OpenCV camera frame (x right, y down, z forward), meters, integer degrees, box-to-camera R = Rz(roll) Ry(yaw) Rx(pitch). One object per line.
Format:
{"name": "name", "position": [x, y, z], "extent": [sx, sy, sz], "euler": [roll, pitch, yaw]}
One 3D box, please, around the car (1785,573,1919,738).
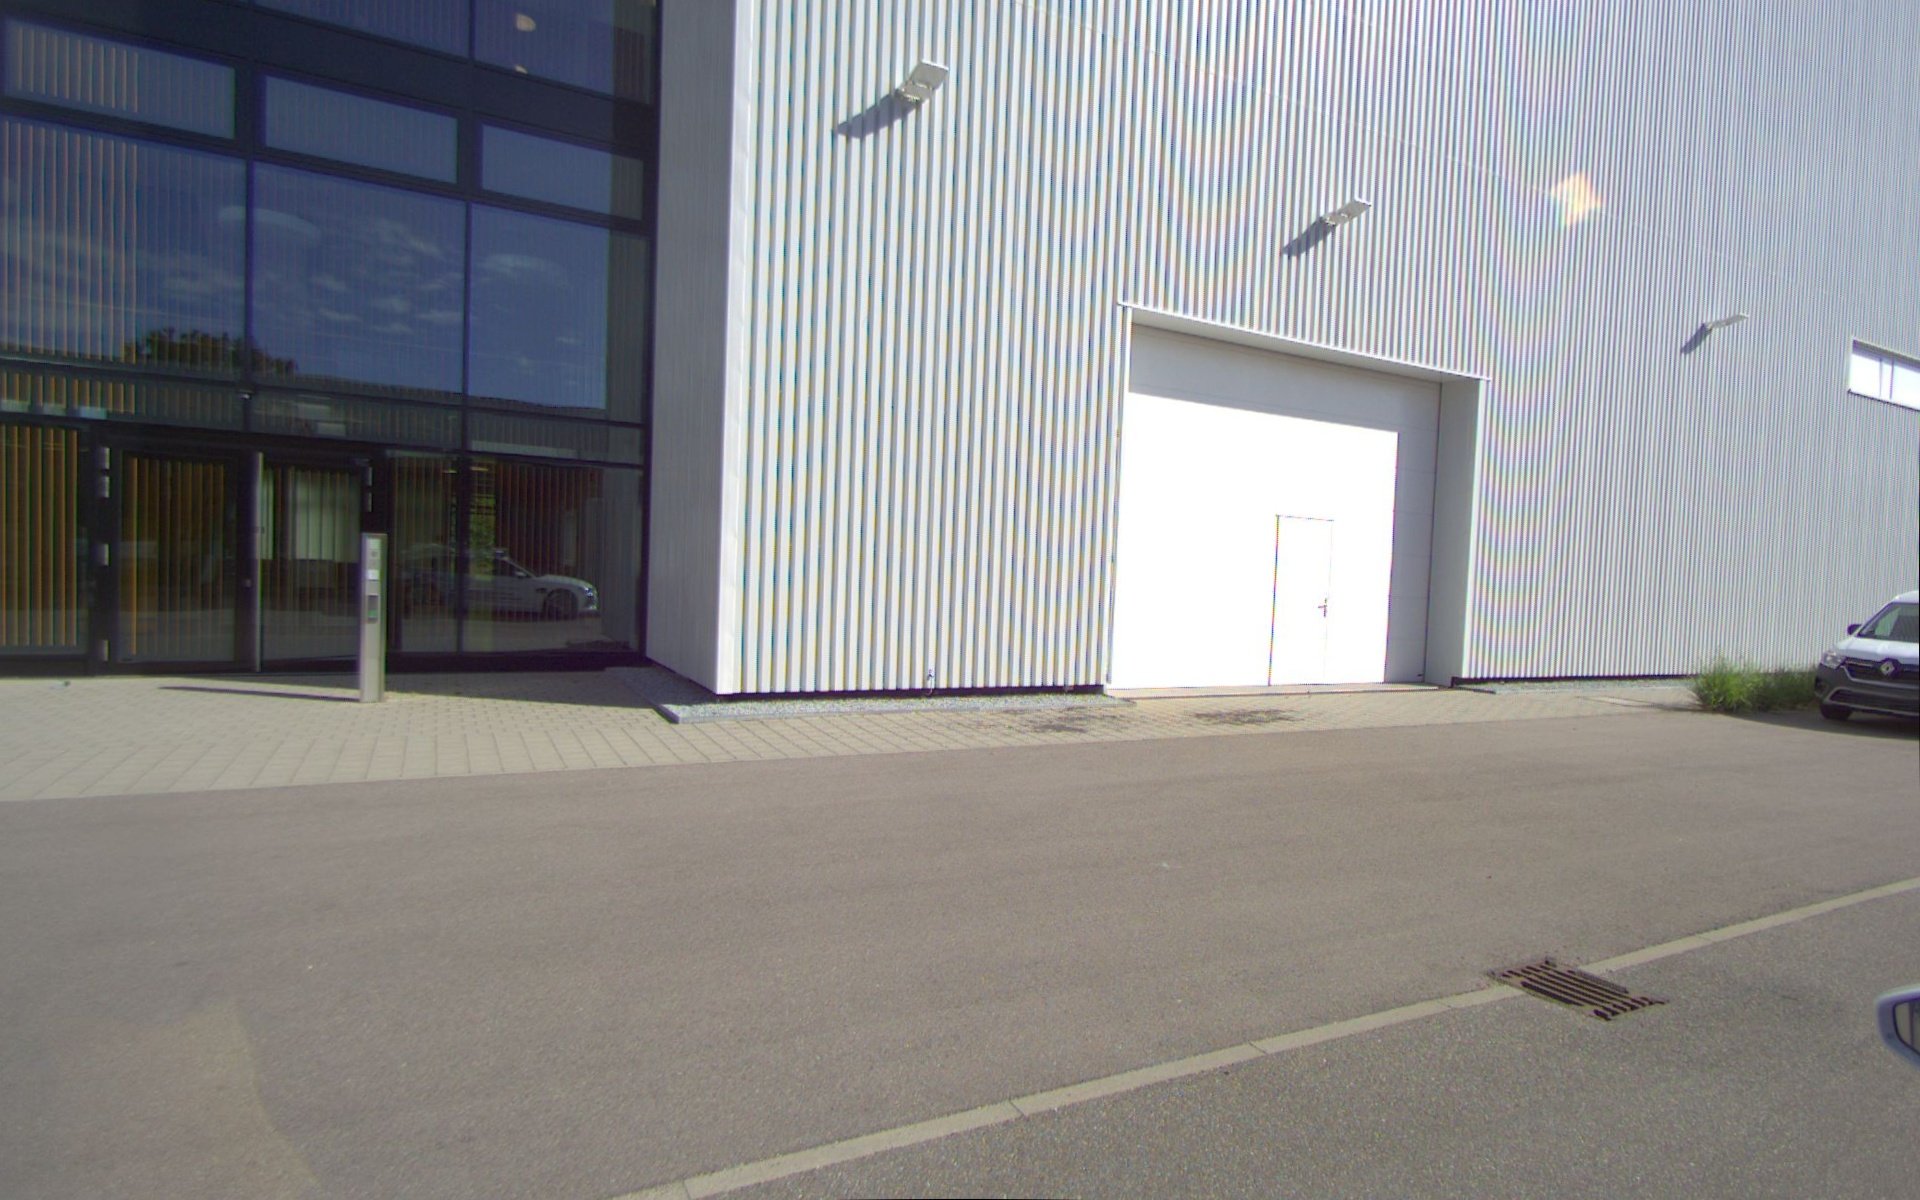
{"name": "car", "position": [13.066, 0.710, 13.192], "extent": [4.305, 1.870, 1.882], "euler": [1, 4, -29]}
